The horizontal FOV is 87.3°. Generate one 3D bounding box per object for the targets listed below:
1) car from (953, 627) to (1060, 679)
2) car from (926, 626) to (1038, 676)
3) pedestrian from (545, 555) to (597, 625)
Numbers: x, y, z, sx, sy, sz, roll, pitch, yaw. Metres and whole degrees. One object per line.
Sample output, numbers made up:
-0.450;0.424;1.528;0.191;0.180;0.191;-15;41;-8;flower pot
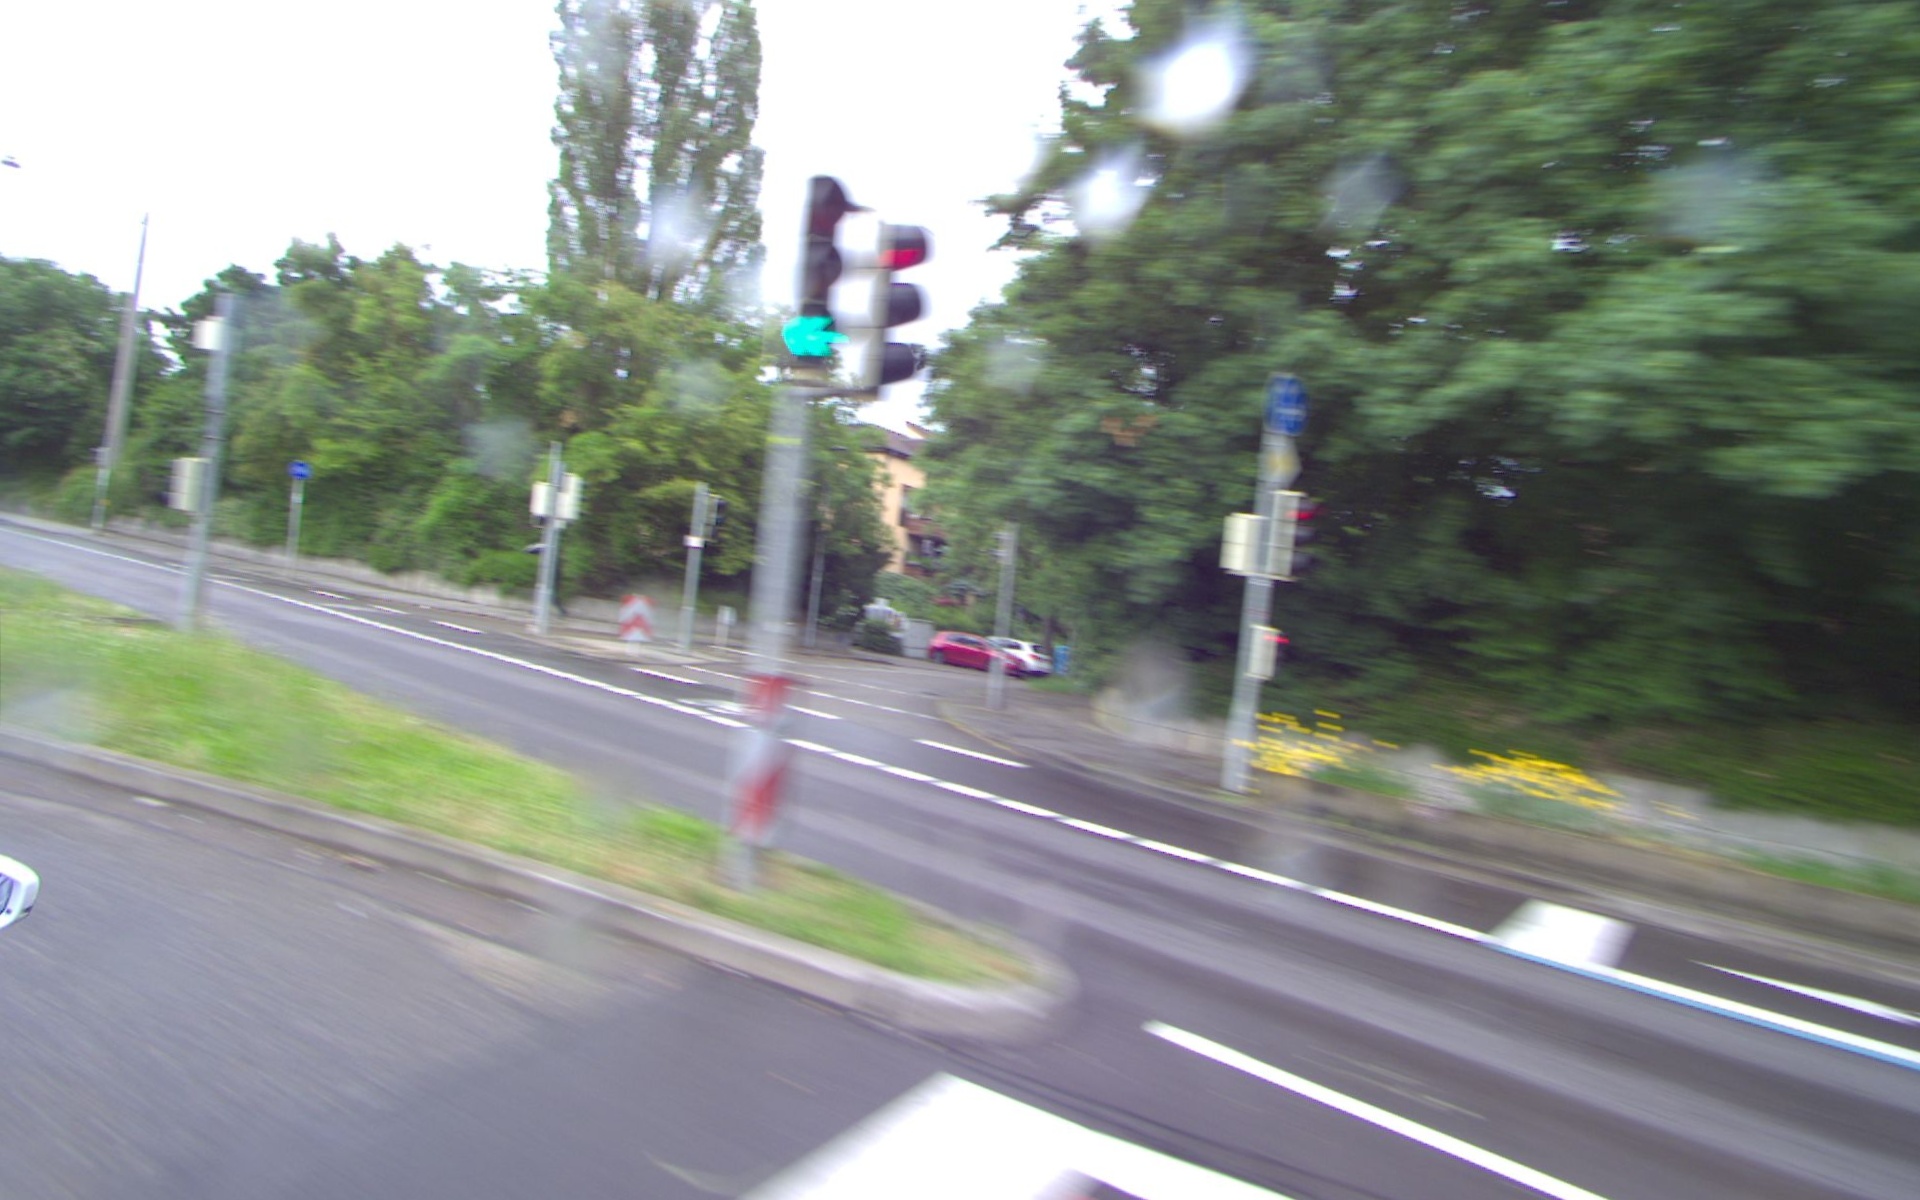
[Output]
1.880;2.168;41.199;3.933;1.567;1.675;7;0;31;car
0.837;1.993;39.183;3.933;1.370;1.675;7;0;31;car
-9.719;-0.249;25.157;0.673;1.625;0.807;5;-3;37;pedestrian
